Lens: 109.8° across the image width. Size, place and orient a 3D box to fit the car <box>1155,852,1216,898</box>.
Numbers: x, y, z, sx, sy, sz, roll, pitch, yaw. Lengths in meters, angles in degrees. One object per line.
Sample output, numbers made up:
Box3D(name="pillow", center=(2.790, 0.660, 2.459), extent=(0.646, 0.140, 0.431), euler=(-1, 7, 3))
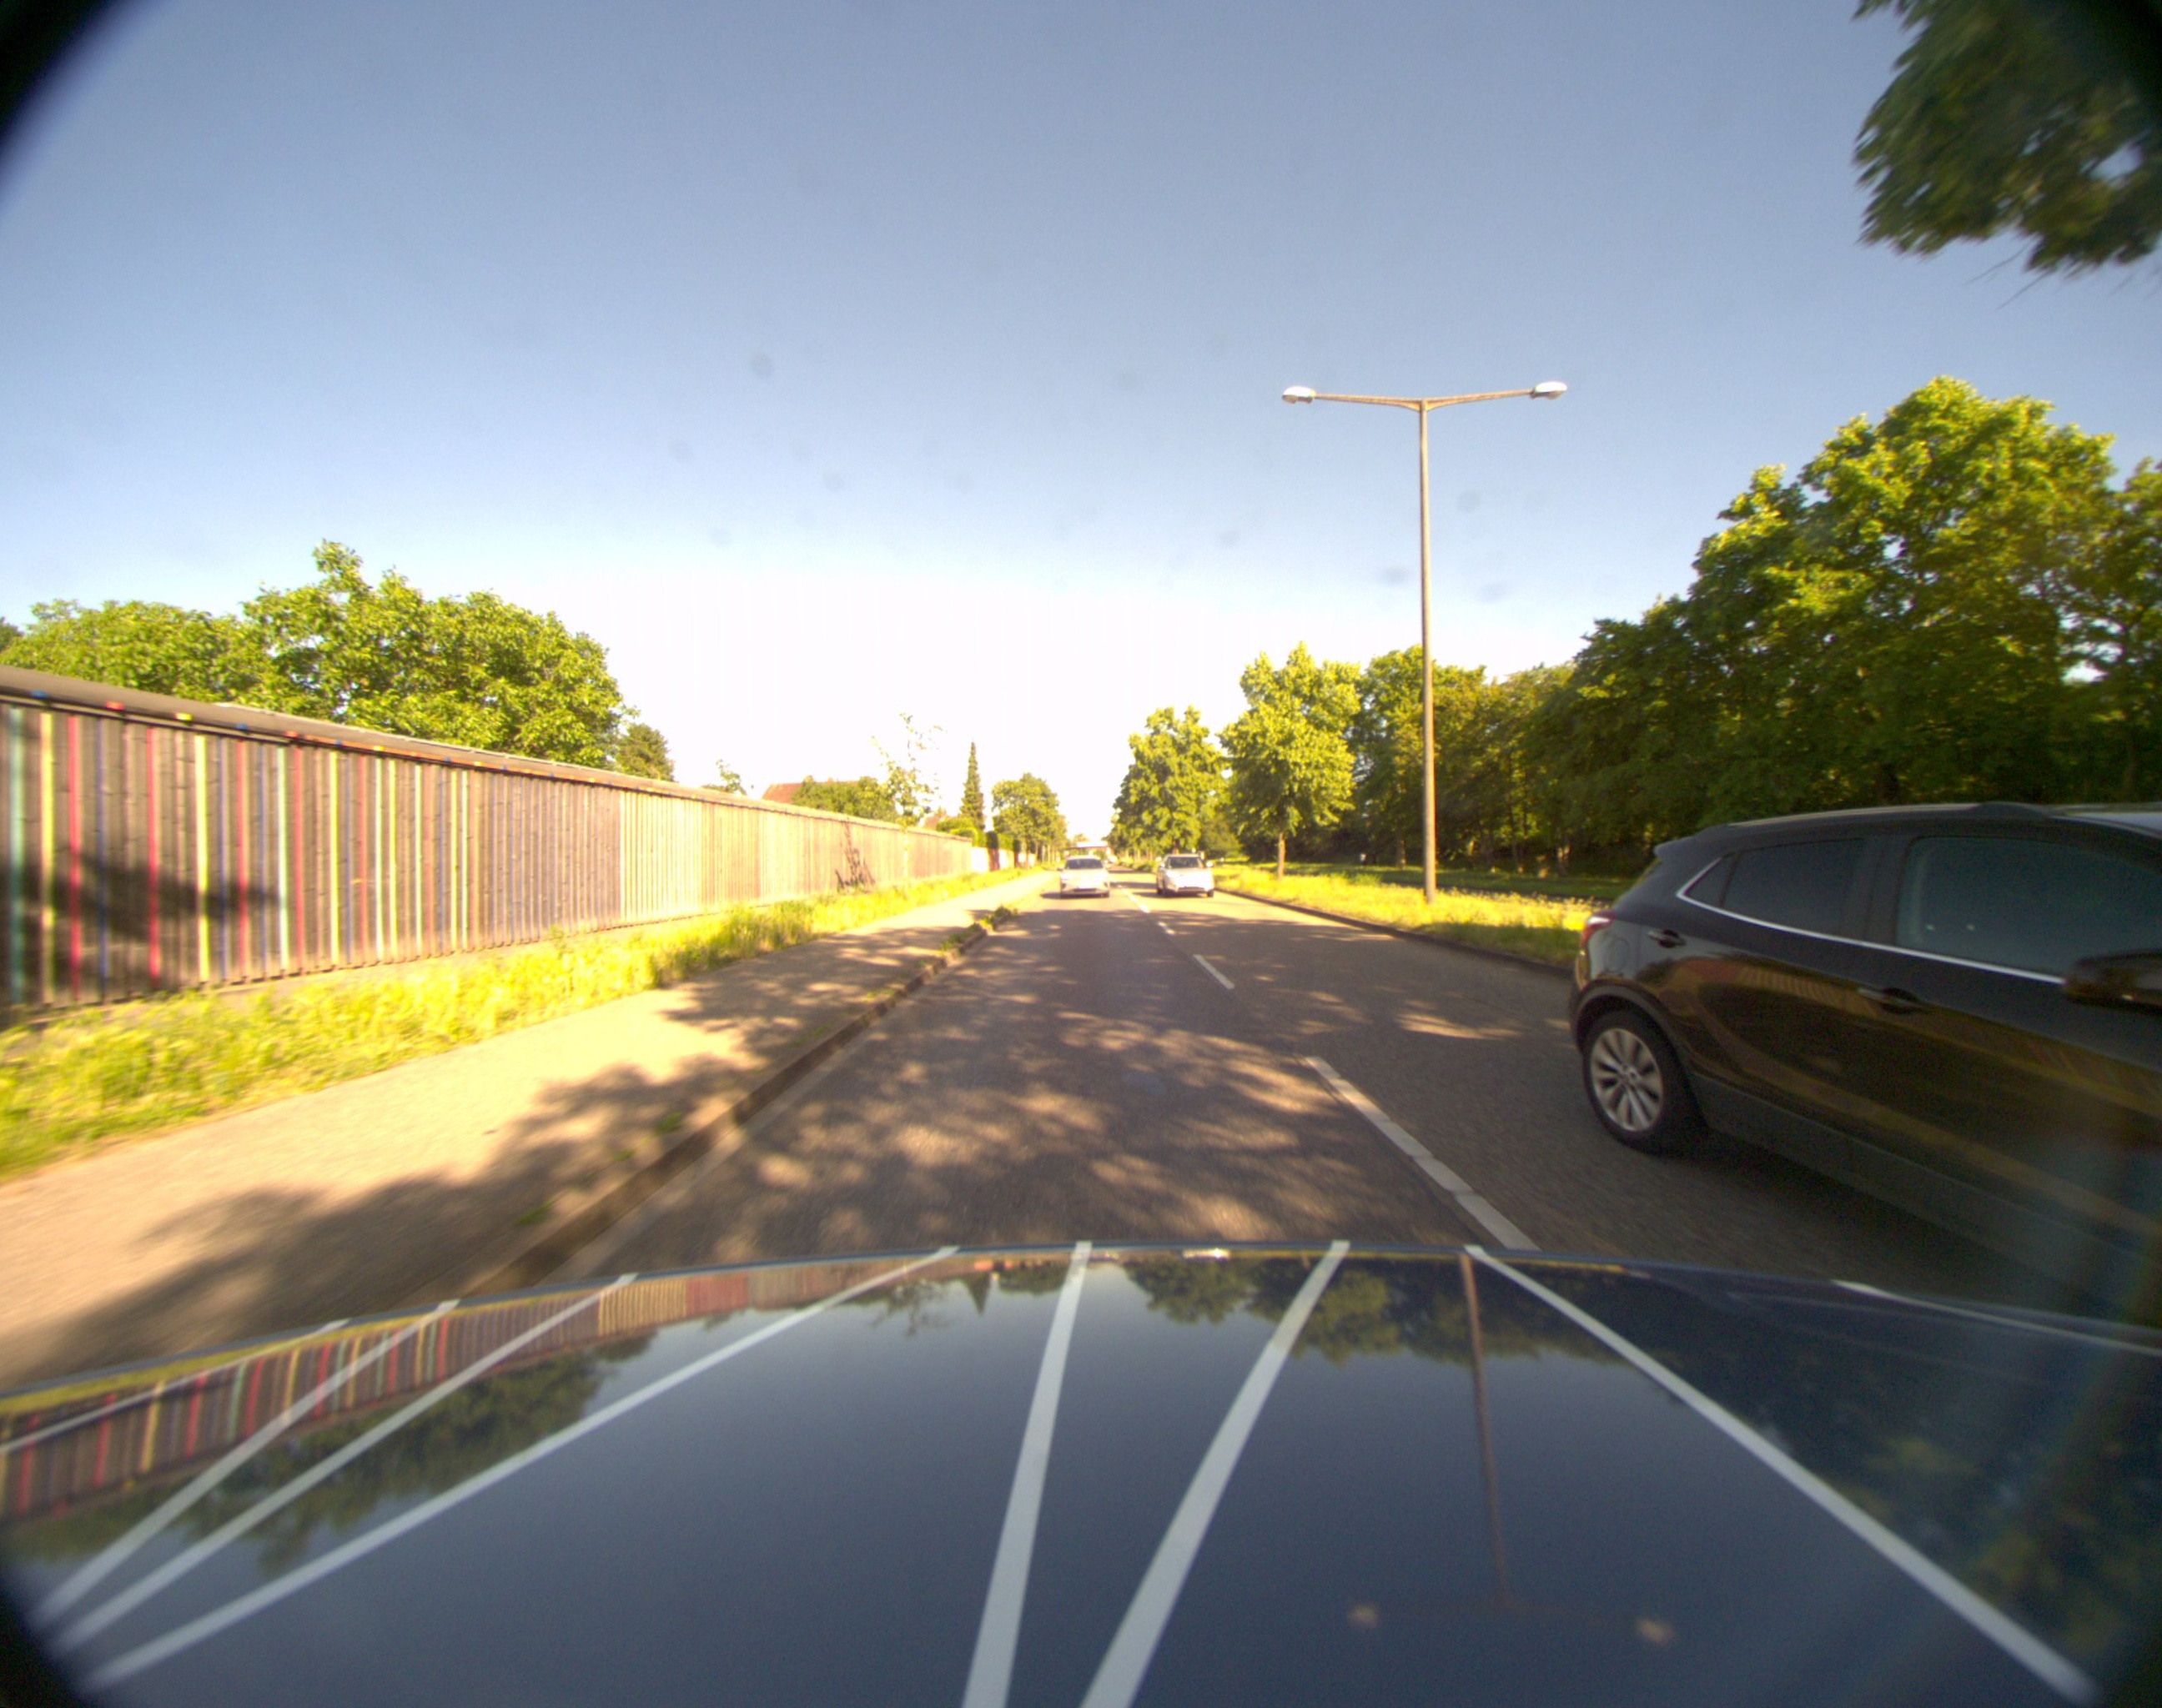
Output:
Box3D(name="car", center=(3.831, 0.723, 28.454), extent=(1.789, 1.600, 4.106), euler=(-1, 0, 1))

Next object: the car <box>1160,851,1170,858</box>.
Box3D(name="car", center=(17.781, 0.008, 161.276), extent=(1.730, 1.448, 4.345), euler=(-1, 0, 1))

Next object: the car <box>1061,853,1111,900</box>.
Box3D(name="car", center=(0.205, 0.823, 29.939), extent=(1.766, 1.606, 4.297), euler=(-2, 1, 1))

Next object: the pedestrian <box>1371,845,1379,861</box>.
Box3D(name="pedestrian", center=(29.058, -0.103, 75.156), extent=(0.561, 1.650, 0.540), euler=(-2, 1, 5))

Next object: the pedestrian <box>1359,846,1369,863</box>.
Box3D(name="pedestrian", center=(28.042, 0.044, 75.292), extent=(0.683, 1.650, 0.679), euler=(-4, 2, 2))

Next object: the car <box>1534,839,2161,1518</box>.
Box3D(name="car", center=(3.447, 0.773, 2.186), extent=(1.700, 1.622, 4.417), euler=(-1, 0, 1))
